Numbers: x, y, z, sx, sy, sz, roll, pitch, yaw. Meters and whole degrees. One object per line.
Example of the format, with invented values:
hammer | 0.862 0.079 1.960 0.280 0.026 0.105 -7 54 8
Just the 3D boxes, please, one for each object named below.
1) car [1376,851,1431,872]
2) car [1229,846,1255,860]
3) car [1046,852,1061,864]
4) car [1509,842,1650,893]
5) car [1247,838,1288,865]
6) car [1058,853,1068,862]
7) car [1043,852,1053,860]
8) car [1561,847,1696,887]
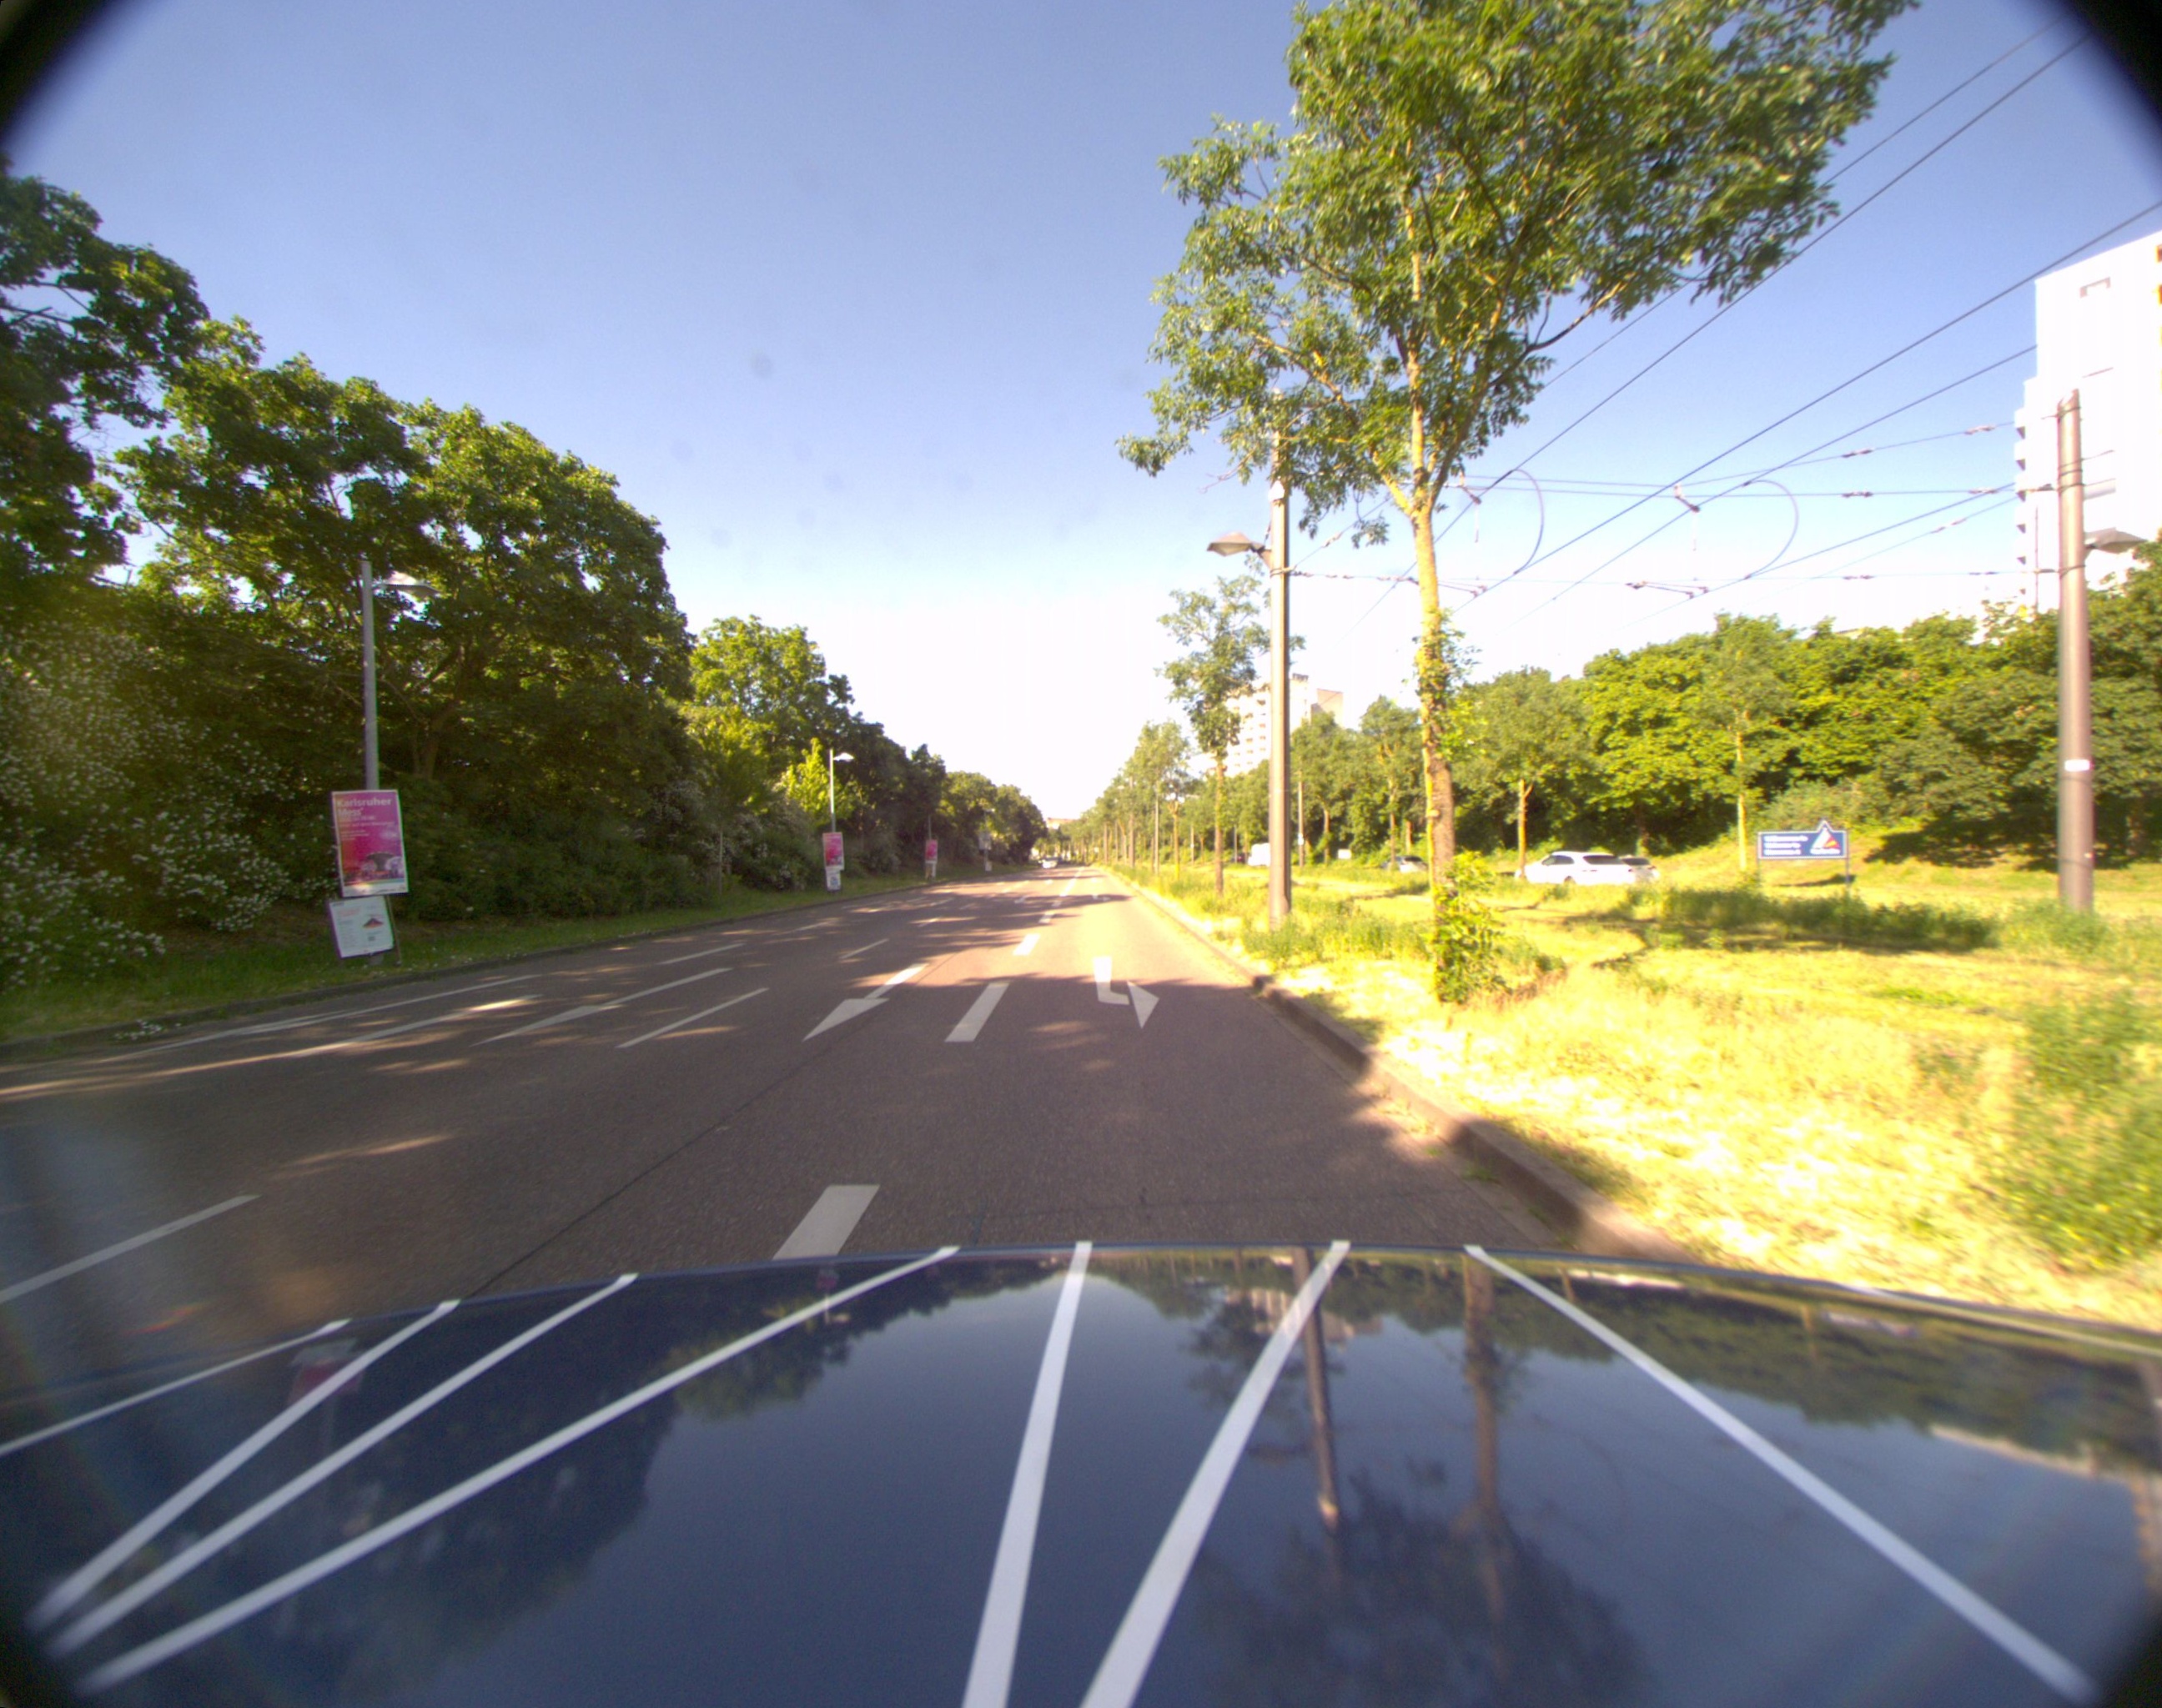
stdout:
car | 21.118 0.463 49.896 1.802 1.285 3.999 -2 0 -1
car | 19.443 -0.108 92.112 1.998 1.575 5.272 -2 0 1
car | -3.670 0.546 103.149 1.673 1.531 4.060 -4 0 1
car | 17.847 0.437 27.511 1.900 1.612 4.655 -2 0 -2
car | 17.556 -0.249 71.763 2.045 2.355 6.879 -2 0 0
car | -3.710 0.688 155.764 1.999 1.696 3.999 -2 1 -1
car | -6.703 0.397 153.846 1.831 1.400 4.216 -2 0 -1
car | 21.680 0.471 30.360 1.905 1.390 4.541 -2 0 -3
